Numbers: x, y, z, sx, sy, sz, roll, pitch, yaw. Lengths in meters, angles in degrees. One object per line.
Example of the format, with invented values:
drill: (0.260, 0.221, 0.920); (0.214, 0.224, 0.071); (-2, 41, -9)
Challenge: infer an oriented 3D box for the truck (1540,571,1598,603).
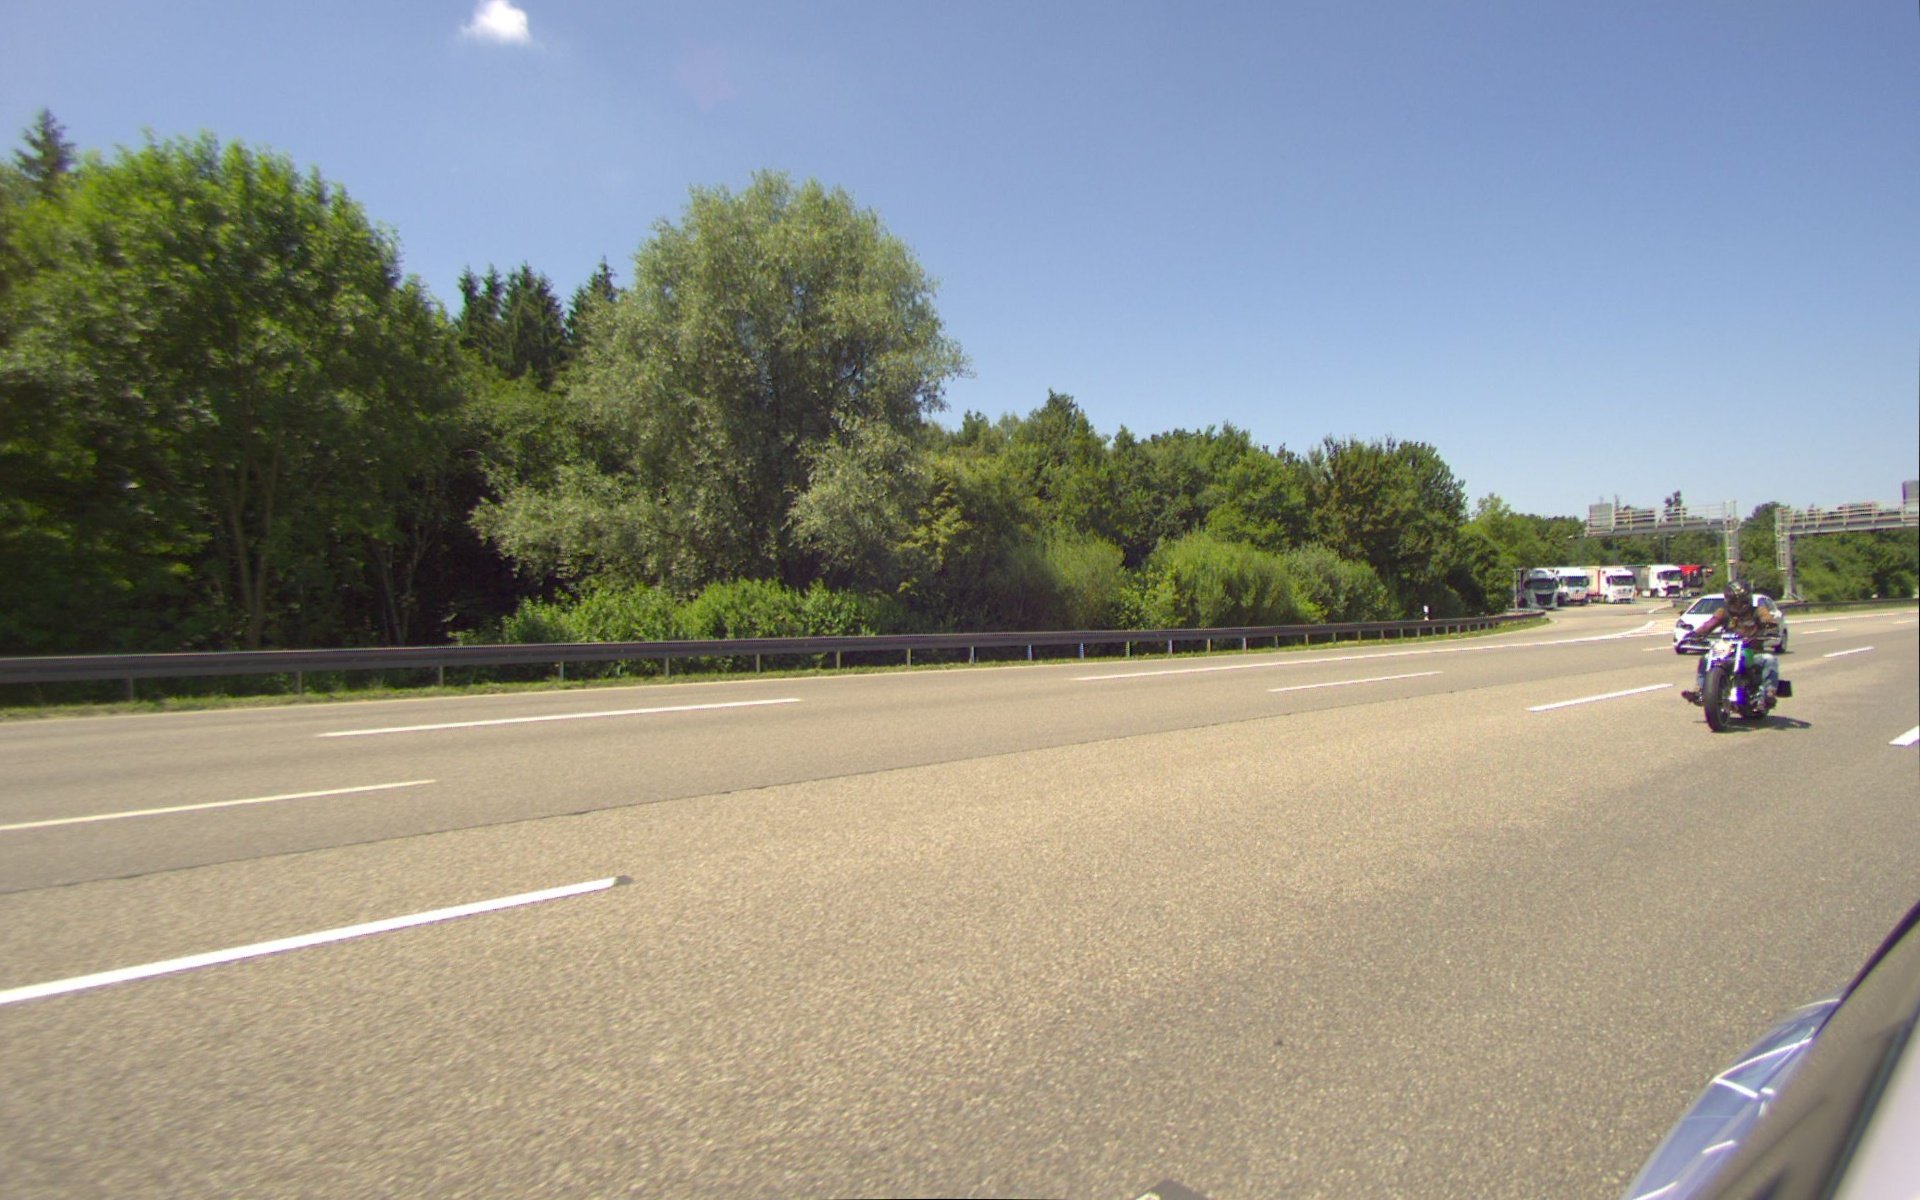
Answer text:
truck: (64.799, -1.439, 107.900); (2.417, 3.163, 8.995); (-2, 1, 13)

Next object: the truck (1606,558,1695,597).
truck: (85.923, -2.677, 126.471); (2.783, 4.516, 14.613); (0, 0, 7)

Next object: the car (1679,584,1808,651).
car: (19.773, 0.390, 25.477); (4.405, 1.538, 1.753); (0, 0, -41)

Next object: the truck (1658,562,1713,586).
truck: (96.062, -3.470, 134.161); (1.966, 2.986, 8.732); (-2, 1, 7)

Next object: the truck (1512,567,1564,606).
truck: (56.710, -1.342, 99.451); (2.454, 3.656, 6.306); (-2, 1, 11)

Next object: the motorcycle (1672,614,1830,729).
motorcycle: (9.058, 0.767, 11.558); (2.388, 1.150, 0.538); (-1, 1, -29)

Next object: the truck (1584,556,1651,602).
truck: (72.034, -2.315, 111.092); (3.211, 4.783, 7.175); (-2, 1, 7)

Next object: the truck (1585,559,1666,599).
truck: (80.629, -2.562, 122.921); (2.782, 4.515, 12.045); (-2, 1, 6)

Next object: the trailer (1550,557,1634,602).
trailer: (72.662, -2.386, 116.719); (3.225, 4.766, 12.037); (-2, 1, 7)

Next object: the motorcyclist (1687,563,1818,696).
motorcyclist: (9.052, 0.305, 11.570); (1.003, 1.445, 0.856); (-1, 1, -29)
